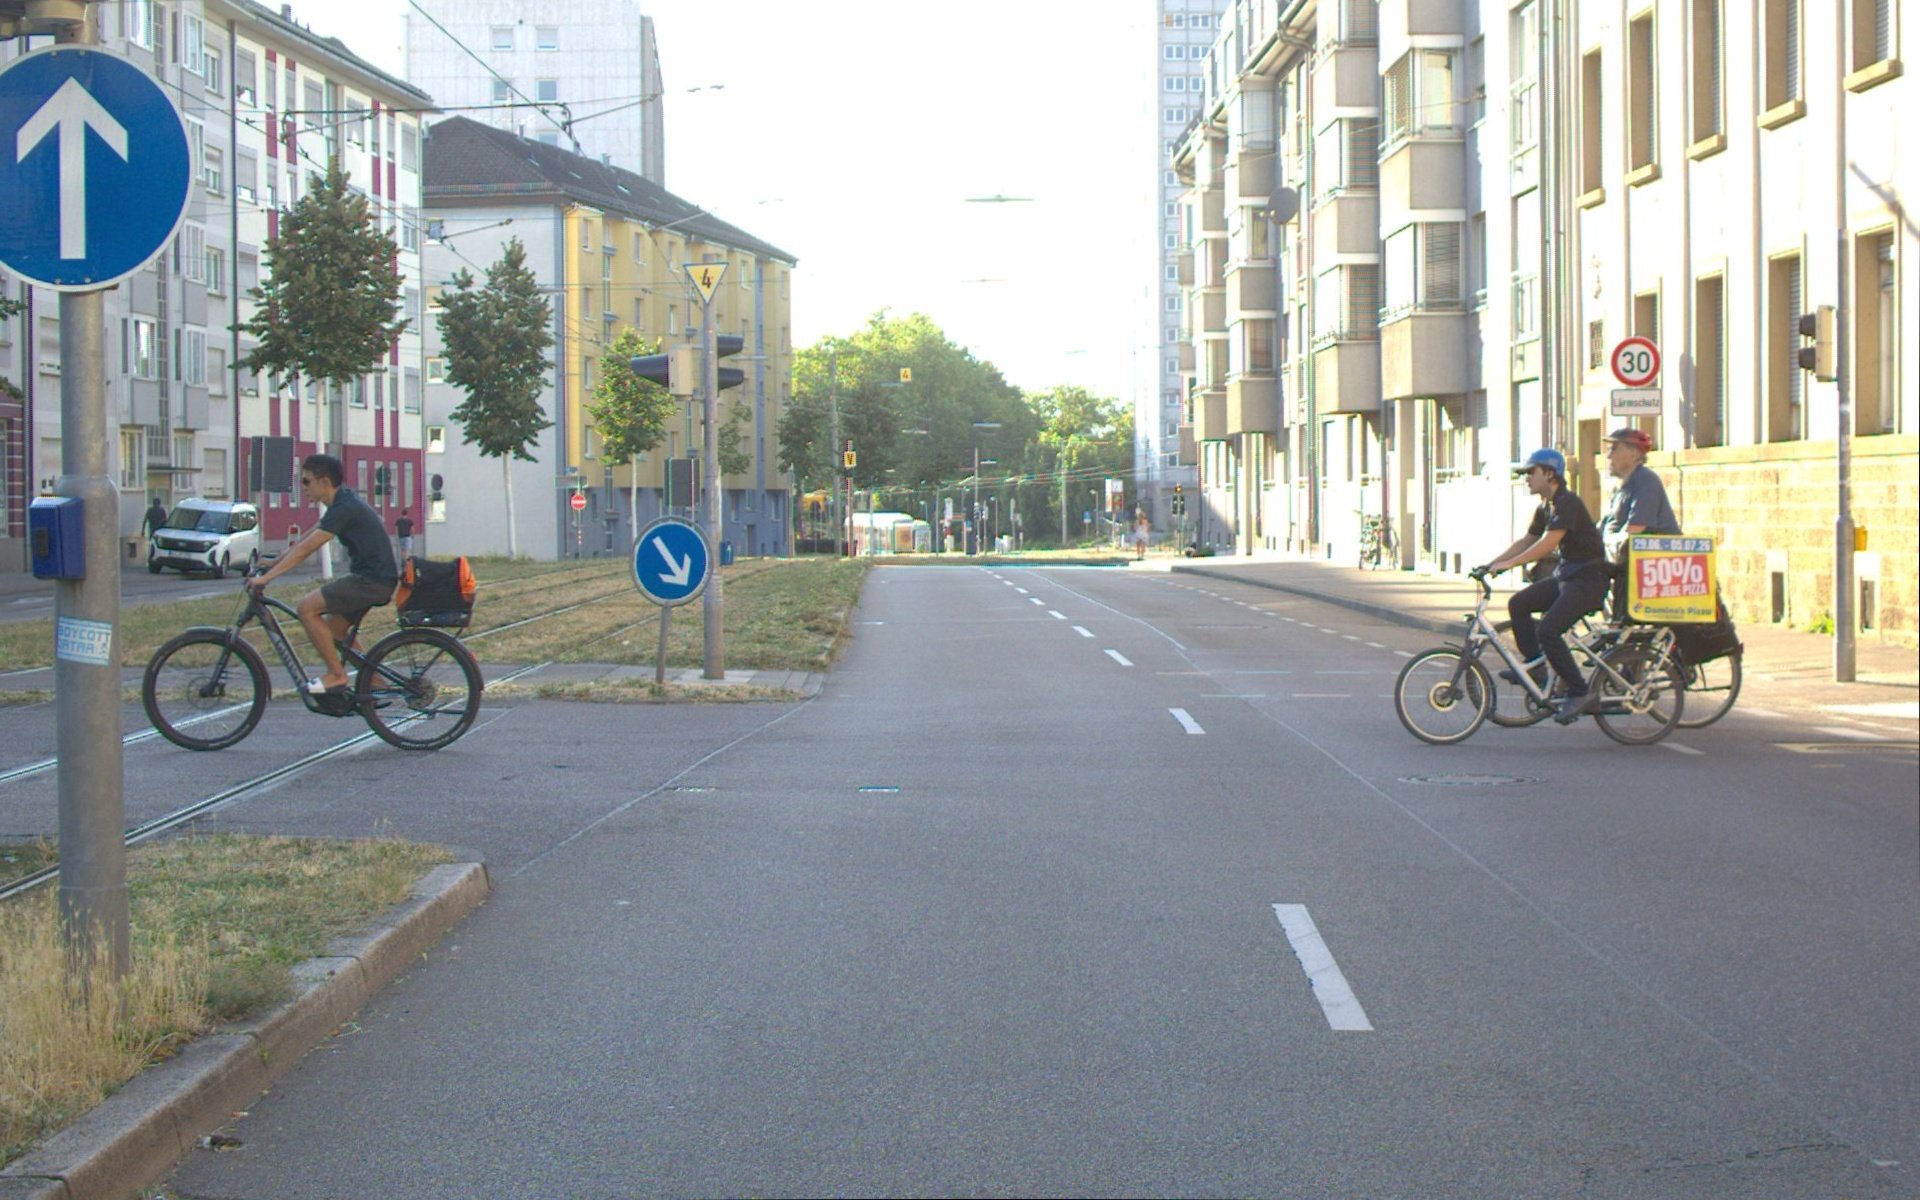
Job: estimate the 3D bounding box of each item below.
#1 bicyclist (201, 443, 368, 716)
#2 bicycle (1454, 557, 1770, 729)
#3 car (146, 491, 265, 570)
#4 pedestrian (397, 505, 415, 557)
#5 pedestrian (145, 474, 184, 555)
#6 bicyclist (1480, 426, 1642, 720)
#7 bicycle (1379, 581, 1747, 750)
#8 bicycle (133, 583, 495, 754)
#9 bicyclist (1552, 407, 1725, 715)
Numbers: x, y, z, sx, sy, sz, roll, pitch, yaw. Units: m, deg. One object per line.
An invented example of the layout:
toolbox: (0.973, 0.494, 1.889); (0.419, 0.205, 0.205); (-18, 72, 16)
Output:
bicyclist: (-3.855, -0.125, 19.665); (0.903, 1.521, 0.648); (-1, 1, -10)
bicycle: (4.273, 0.276, 22.592); (1.943, 1.090, 0.575); (0, 1, -3)
car: (-18.064, -1.655, 82.450); (1.812, 1.791, 4.245); (1, 1, 1)
pedestrian: (-17.546, -2.183, 108.909); (0.495, 1.652, 0.408); (-1, 1, 0)
pedestrian: (-19.852, -2.129, 85.793); (0.786, 2.007, 0.891); (0, 1, -4)
bicyclist: (3.661, -0.167, 20.989); (0.793, 1.747, 0.720); (1, 1, -2)
bicycle: (3.662, 0.394, 20.967); (2.072, 0.955, 0.747); (1, 1, -3)
bicycle: (-3.685, 0.379, 19.699); (1.978, 0.891, 0.786); (-2, 1, -10)
bicyclist: (4.456, -0.264, 22.614); (0.959, 1.981, 0.672); (-1, 1, -3)
